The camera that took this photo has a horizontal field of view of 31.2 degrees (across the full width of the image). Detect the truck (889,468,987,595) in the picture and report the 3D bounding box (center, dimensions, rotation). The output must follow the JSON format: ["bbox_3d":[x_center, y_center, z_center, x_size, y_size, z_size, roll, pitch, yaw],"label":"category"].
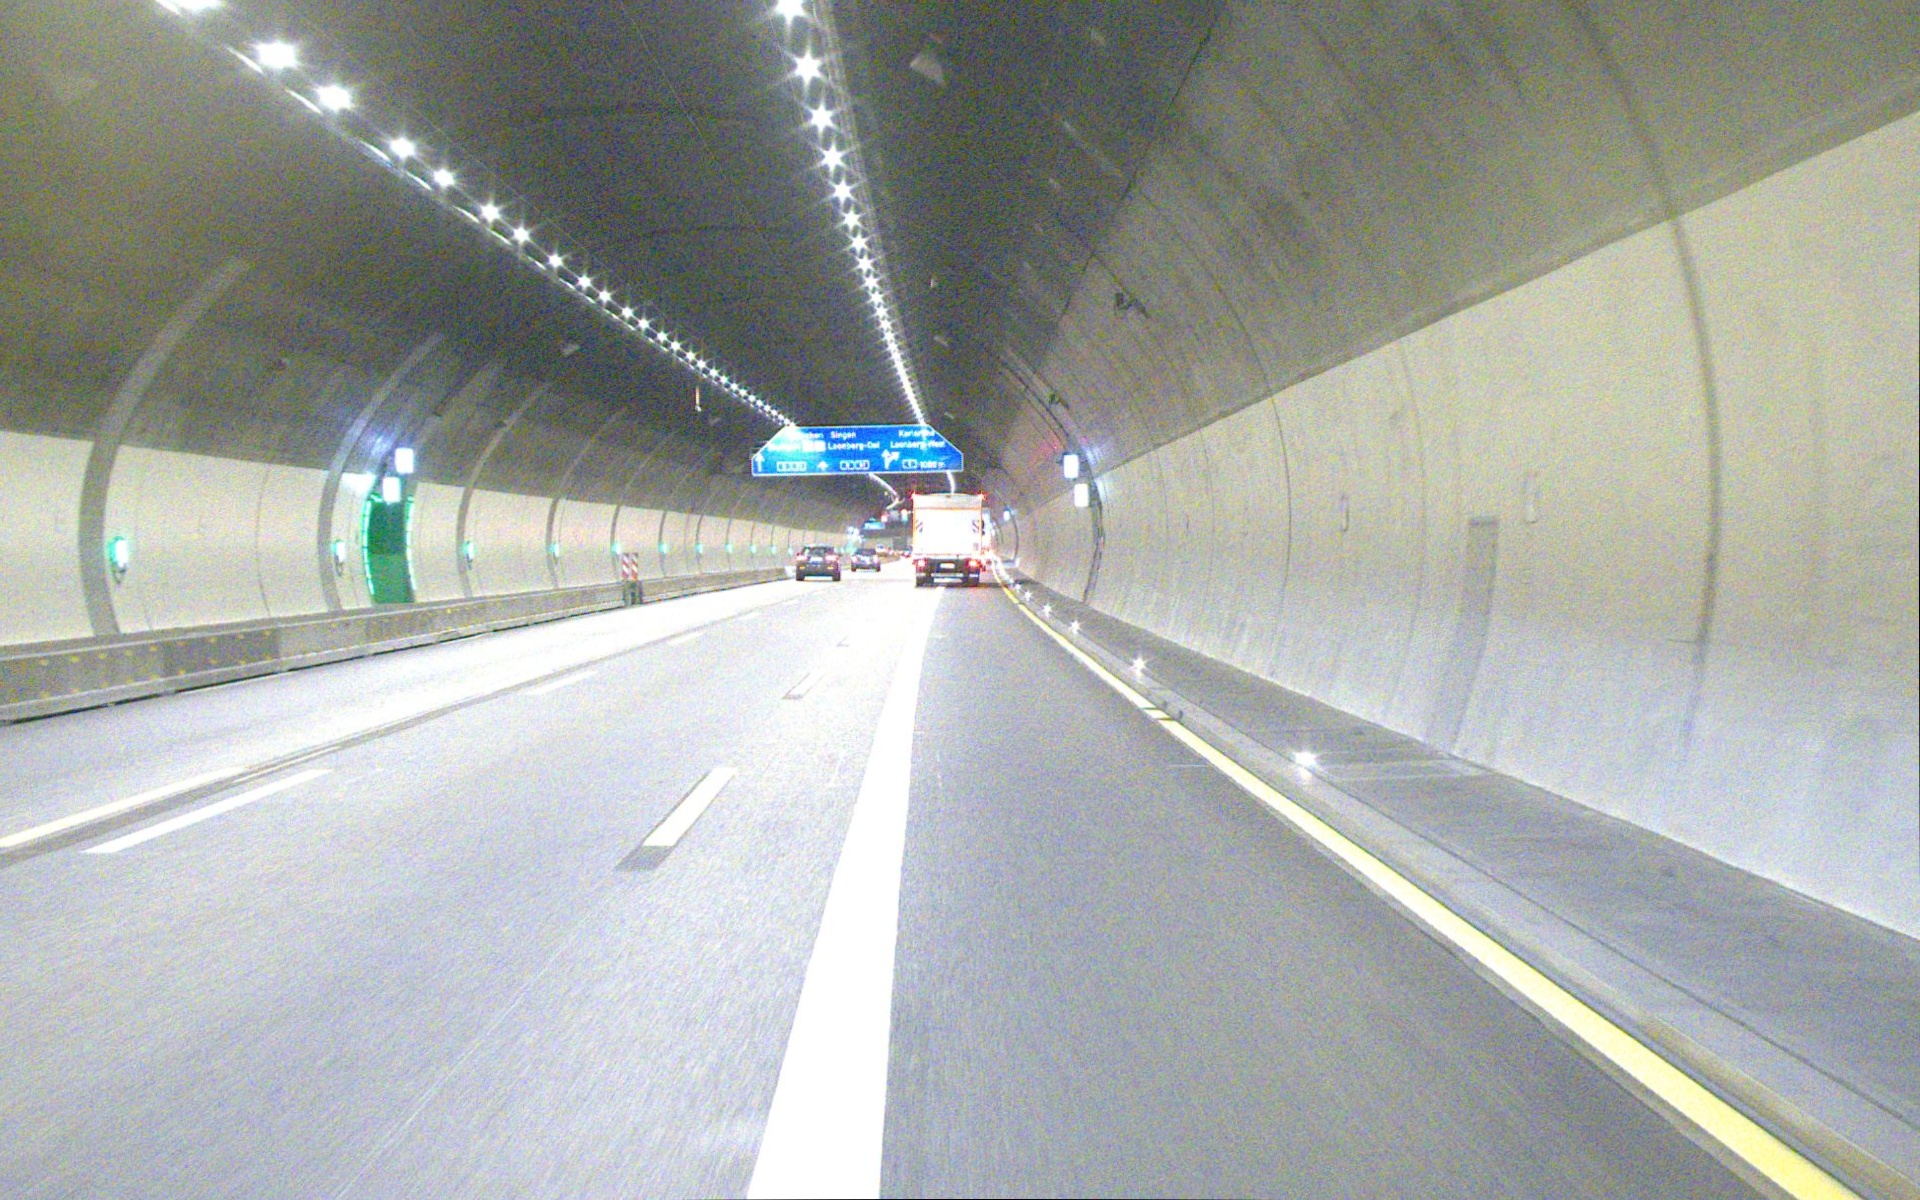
[{"bbox_3d":[-0.991,-2.689,134.934,3.278,4.634,17.289,-1,1,-2],"label":"truck"}]

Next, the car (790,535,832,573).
[{"bbox_3d":[-6.433,-2.005,148.776,1.812,1.612,4.001,0,1,-2],"label":"car"}]

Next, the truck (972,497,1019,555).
[{"bbox_3d":[2.530,-5.335,249.588,2.922,4.034,14.031,-1,1,-1],"label":"truck"}]

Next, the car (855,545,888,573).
[{"bbox_3d":[-5.278,-2.458,204.604,1.812,1.514,4.001,0,3,-3],"label":"car"}]
